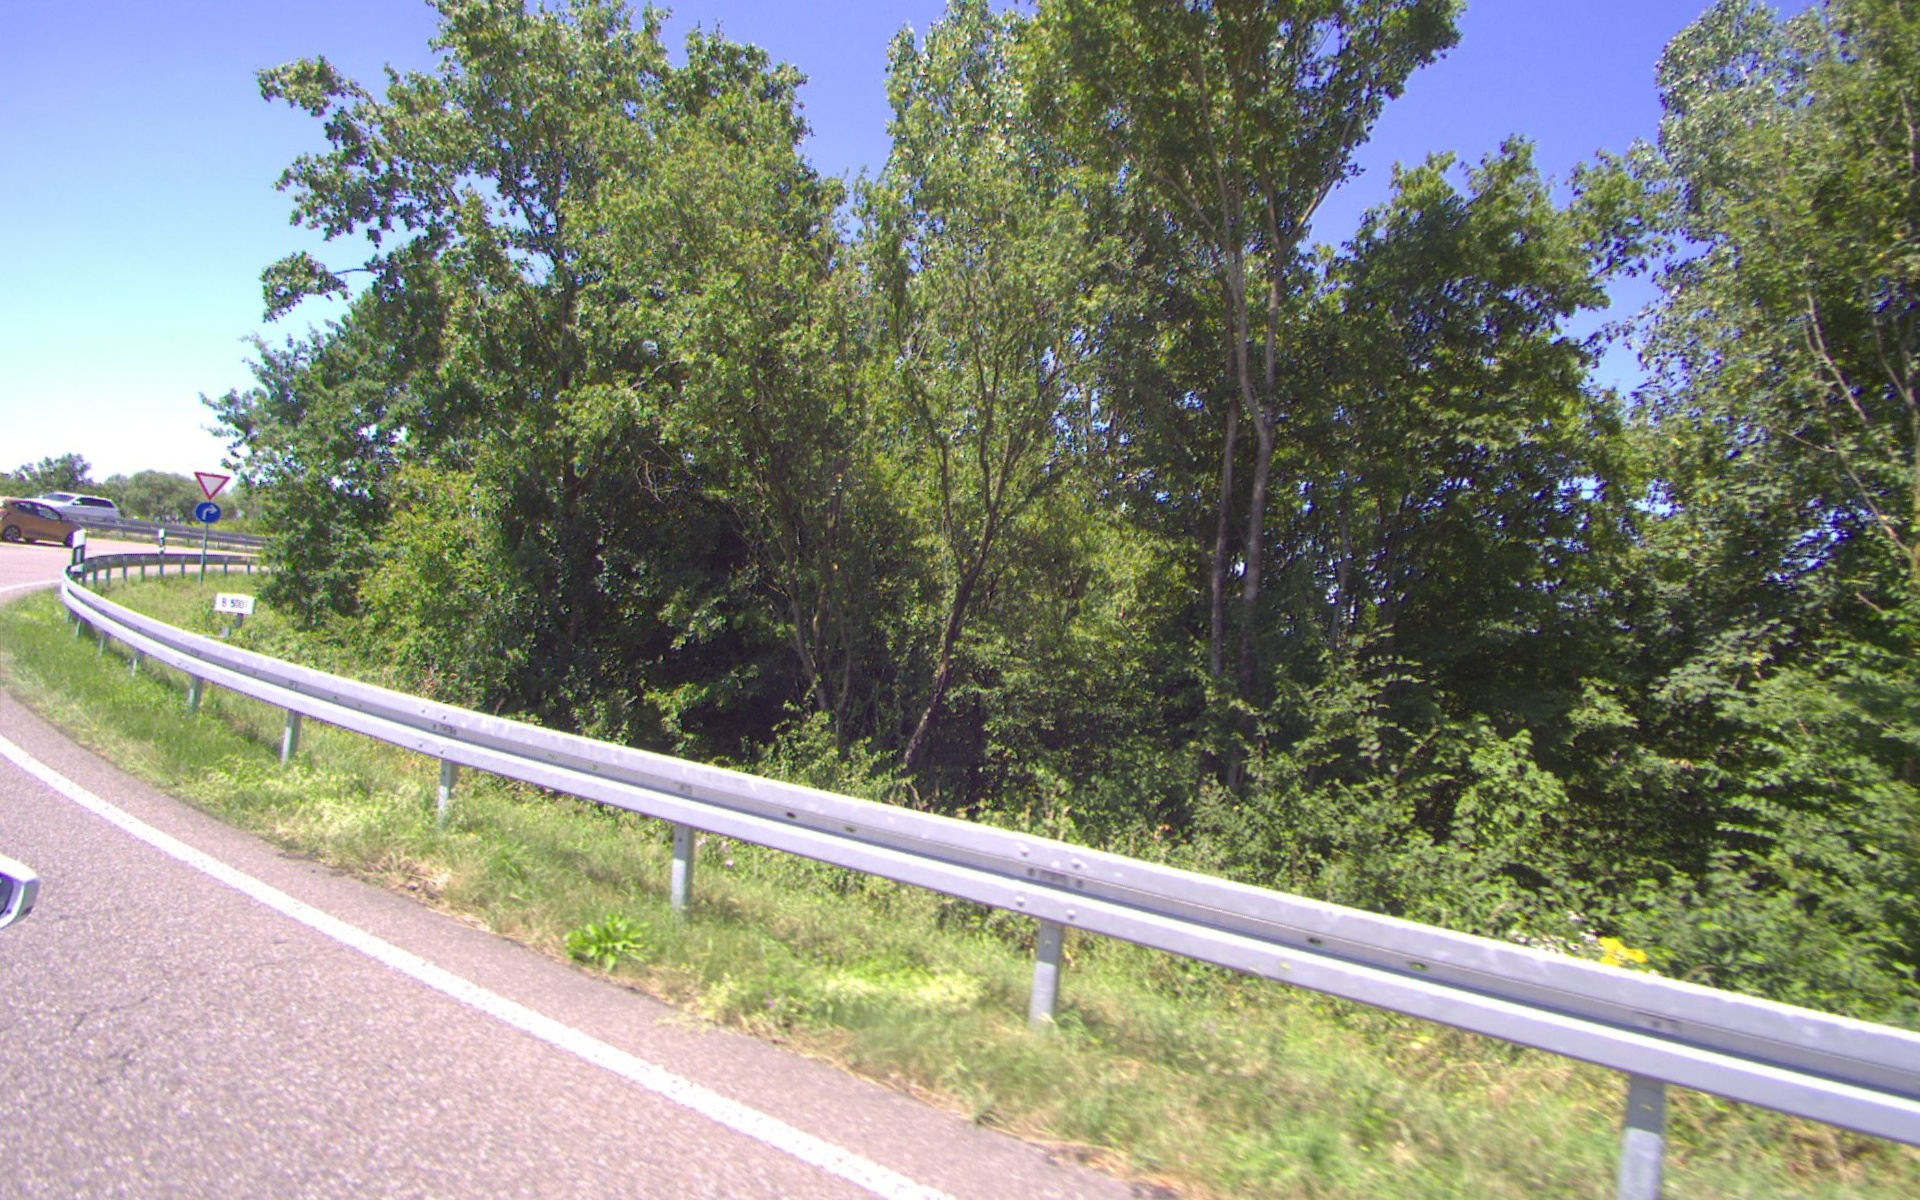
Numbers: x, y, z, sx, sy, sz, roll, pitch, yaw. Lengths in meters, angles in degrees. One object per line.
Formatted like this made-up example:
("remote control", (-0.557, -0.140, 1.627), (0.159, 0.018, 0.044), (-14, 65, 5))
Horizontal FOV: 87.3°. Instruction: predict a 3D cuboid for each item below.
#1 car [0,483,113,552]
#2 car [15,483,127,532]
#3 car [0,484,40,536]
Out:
("car", (-32.387, -2.906, 35.000), (1.963, 1.810, 4.532), (6, -3, -2))
("car", (-45.638, -4.701, 51.799), (1.965, 1.811, 4.402), (7, -1, -6))
("car", (-36.360, -3.517, 36.239), (1.964, 1.811, 4.785), (7, -1, -2))
